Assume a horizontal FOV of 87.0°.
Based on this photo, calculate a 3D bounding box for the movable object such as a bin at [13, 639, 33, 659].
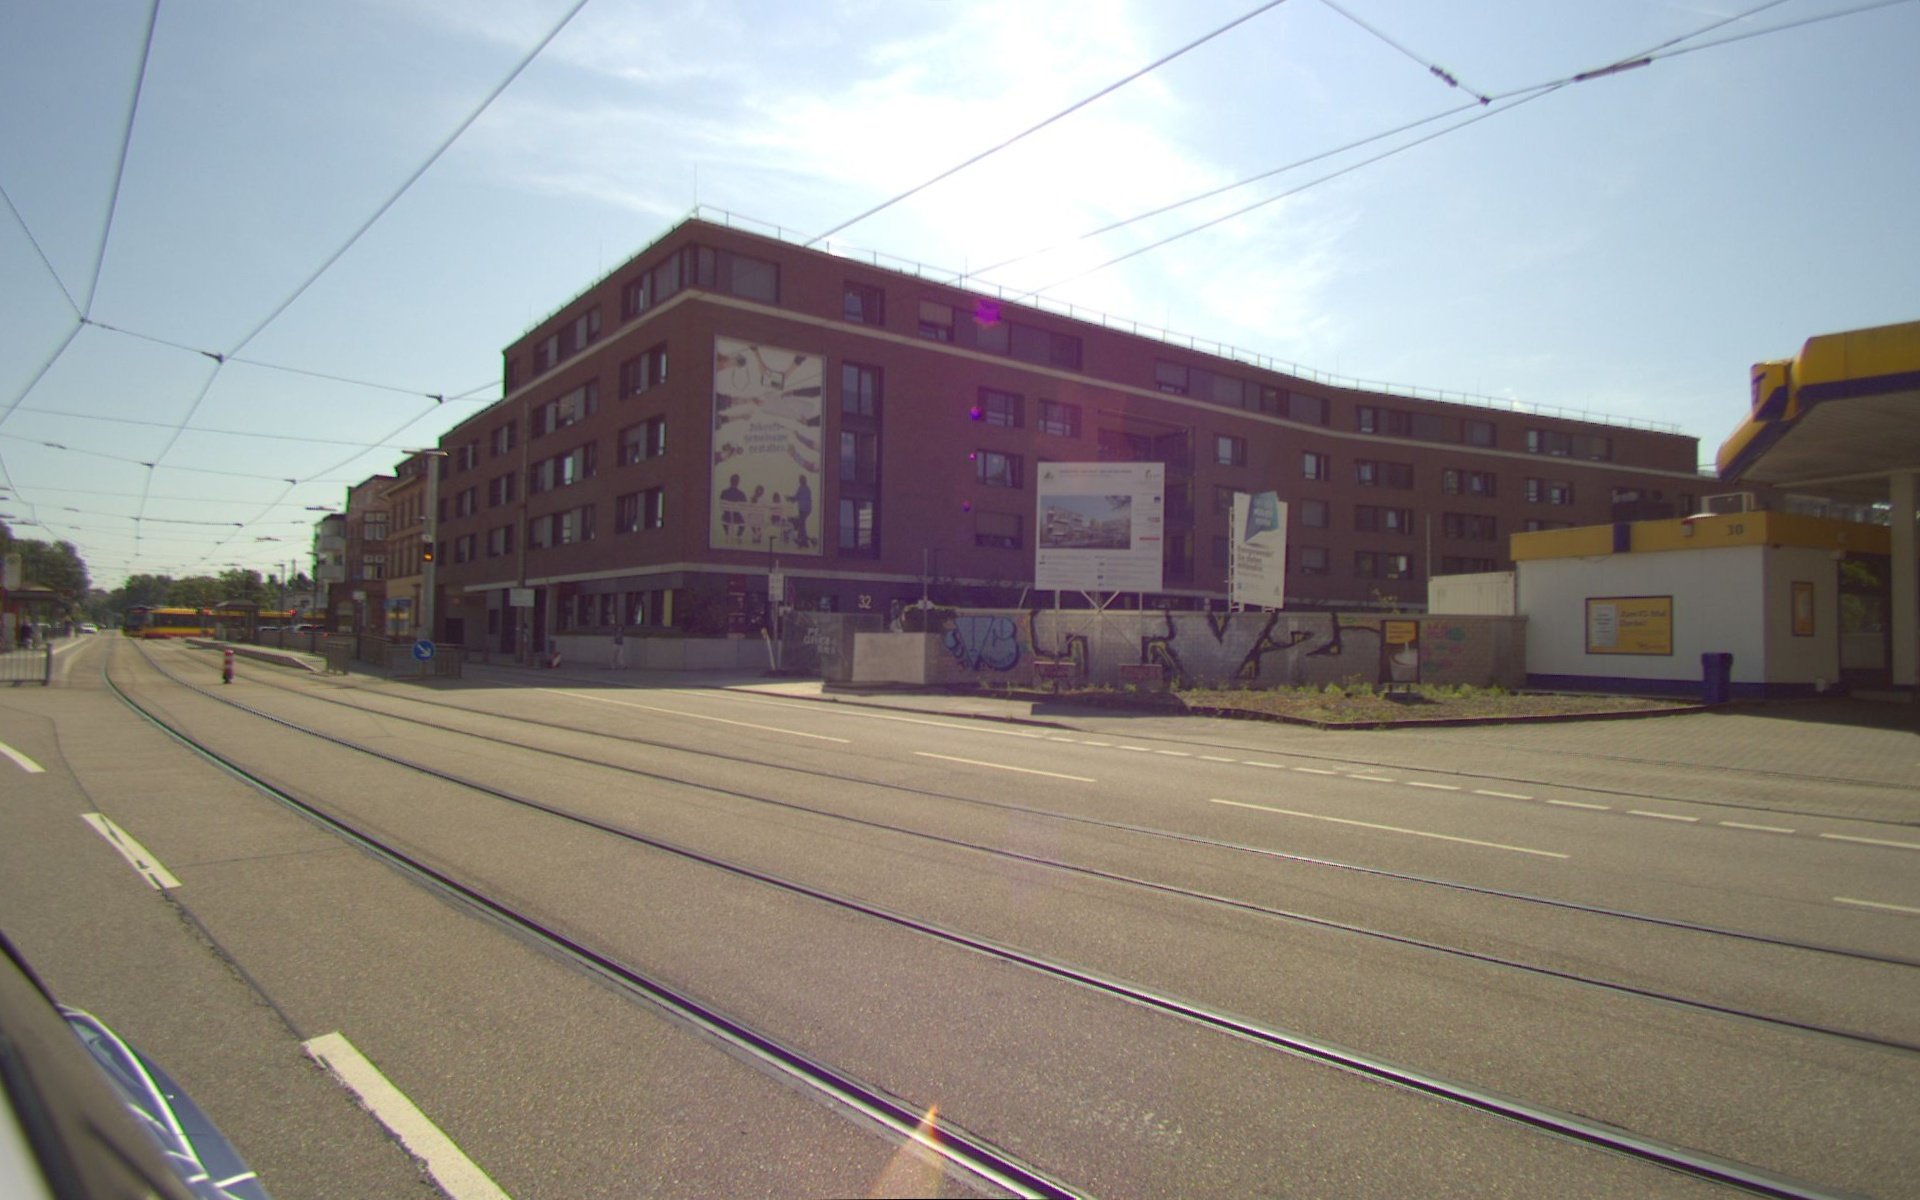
[{"bbox_3d":[-43.499,2.293,46.989,0.621,0.907,0.489,3,-4,-41],"label":"movable object such as a bin"}]

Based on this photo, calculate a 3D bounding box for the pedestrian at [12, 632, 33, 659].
[{"bbox_3d":[-43.107,2.093,46.545,0.621,1.264,0.710,3,-4,-41],"label":"pedestrian"}]

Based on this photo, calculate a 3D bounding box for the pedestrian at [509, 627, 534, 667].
[{"bbox_3d":[-20.490,2.174,47.237,0.834,1.833,0.840,2,-3,-40],"label":"pedestrian"}]

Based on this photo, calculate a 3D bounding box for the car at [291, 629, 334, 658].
[{"bbox_3d":[-40.882,2.727,63.837,1.778,1.742,4.195,0,-2,-40],"label":"car"}]

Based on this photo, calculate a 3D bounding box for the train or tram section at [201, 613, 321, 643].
[{"bbox_3d":[-85.610,3.507,124.392,2.666,3.507,13.259,0,-2,18],"label":"train or tram section"}]

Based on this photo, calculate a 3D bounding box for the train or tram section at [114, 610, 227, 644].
[{"bbox_3d":[-86.952,3.036,111.972,2.649,3.507,13.346,1,-2,-3],"label":"train or tram section"}]

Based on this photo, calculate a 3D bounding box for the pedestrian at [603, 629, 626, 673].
[{"bbox_3d":[-13.181,1.947,38.570,0.574,1.677,0.700,3,-4,-42],"label":"pedestrian"}]

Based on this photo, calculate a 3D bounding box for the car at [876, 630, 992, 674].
[{"bbox_3d":[-0.972,1.835,36.071,3.937,1.434,1.805,-1,-1,-8],"label":"car"}]

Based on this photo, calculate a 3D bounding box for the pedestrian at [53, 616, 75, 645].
[{"bbox_3d":[-58.742,1.997,66.324,0.968,1.873,1.239,3,-4,-40],"label":"pedestrian"}]

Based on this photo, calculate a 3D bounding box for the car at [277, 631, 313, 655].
[{"bbox_3d":[-46.168,2.992,70.243,1.690,1.635,3.584,1,-2,-40],"label":"car"}]
